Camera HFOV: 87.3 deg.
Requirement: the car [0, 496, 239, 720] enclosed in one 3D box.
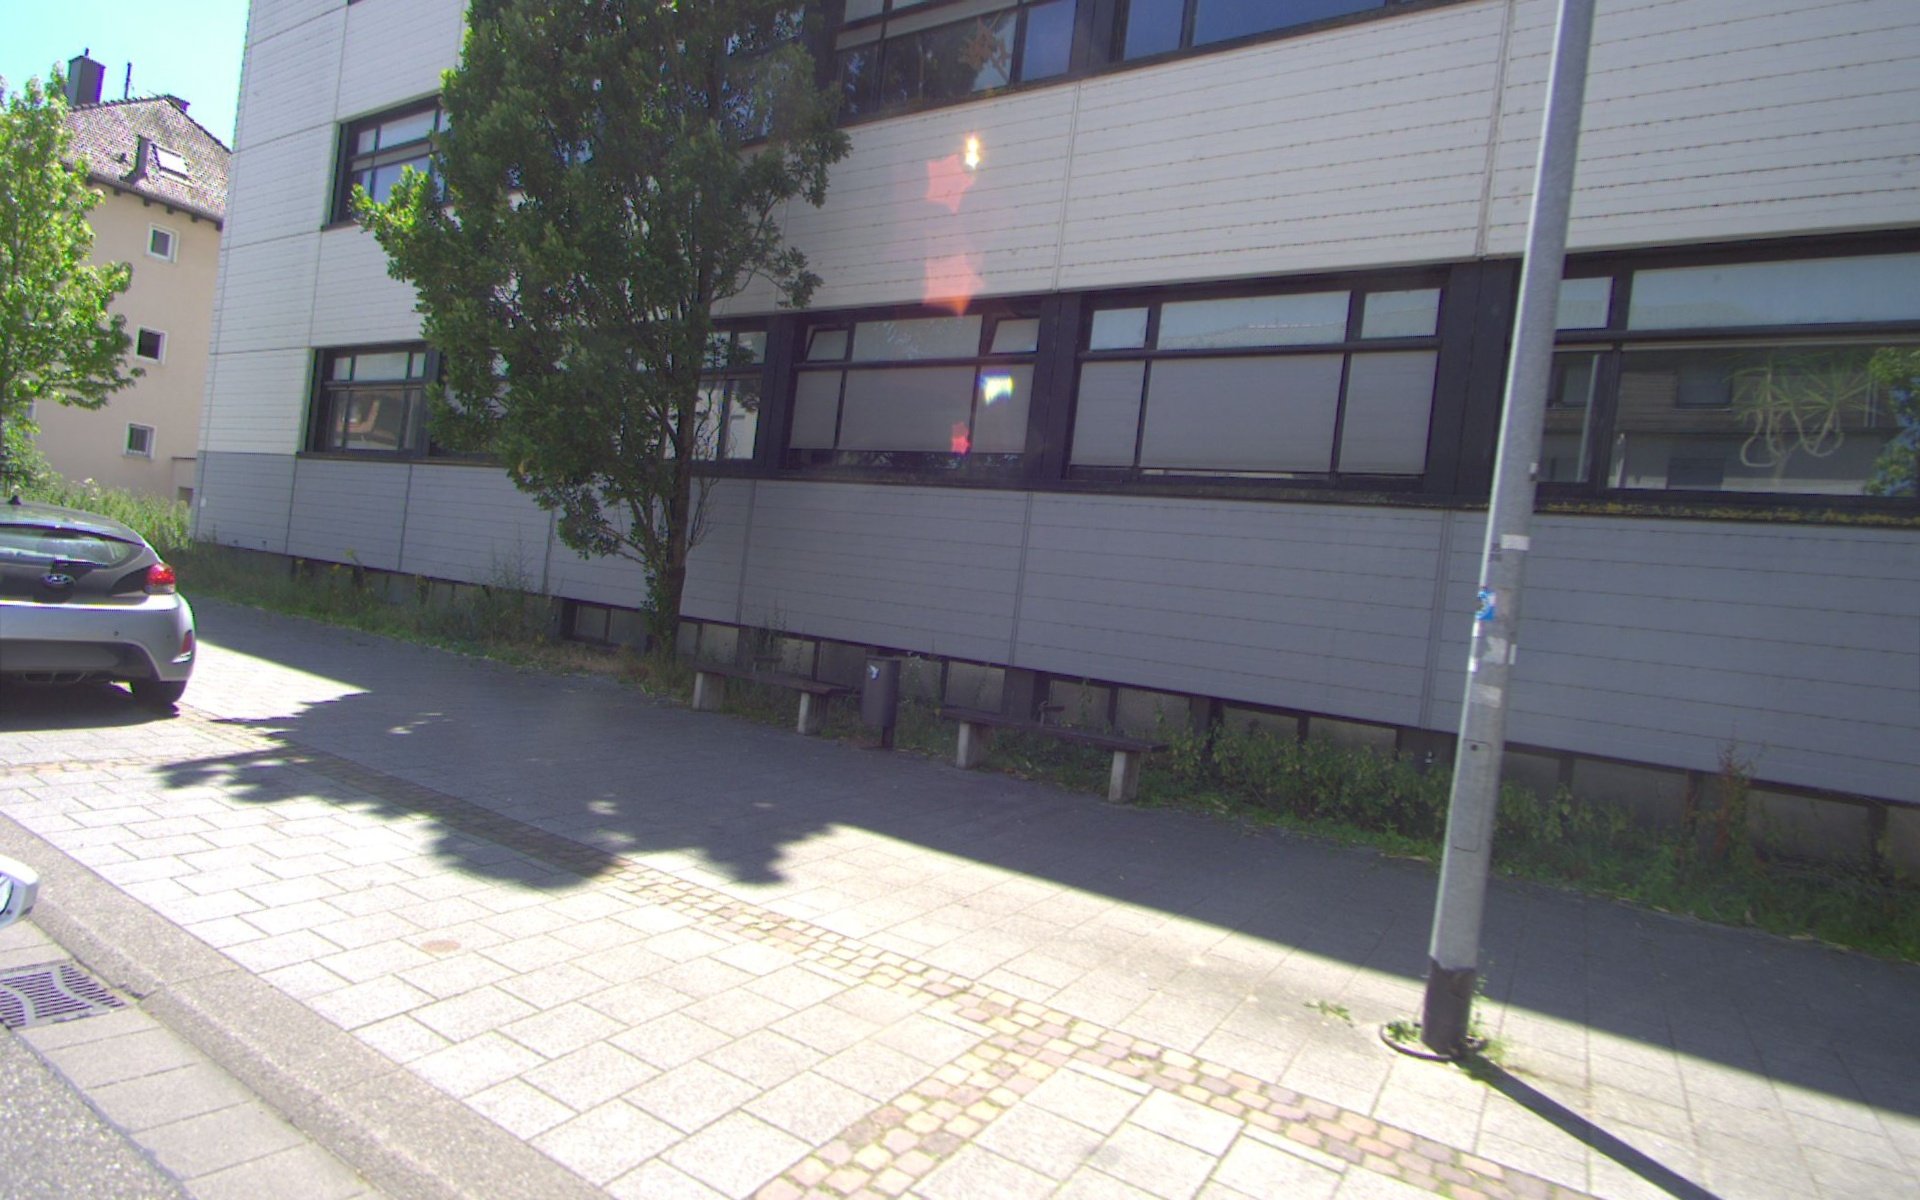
[{"bbox_3d":[-7.395,-0.090,7.592,3.936,1.390,1.864,6,-1,34],"label":"car"}]
